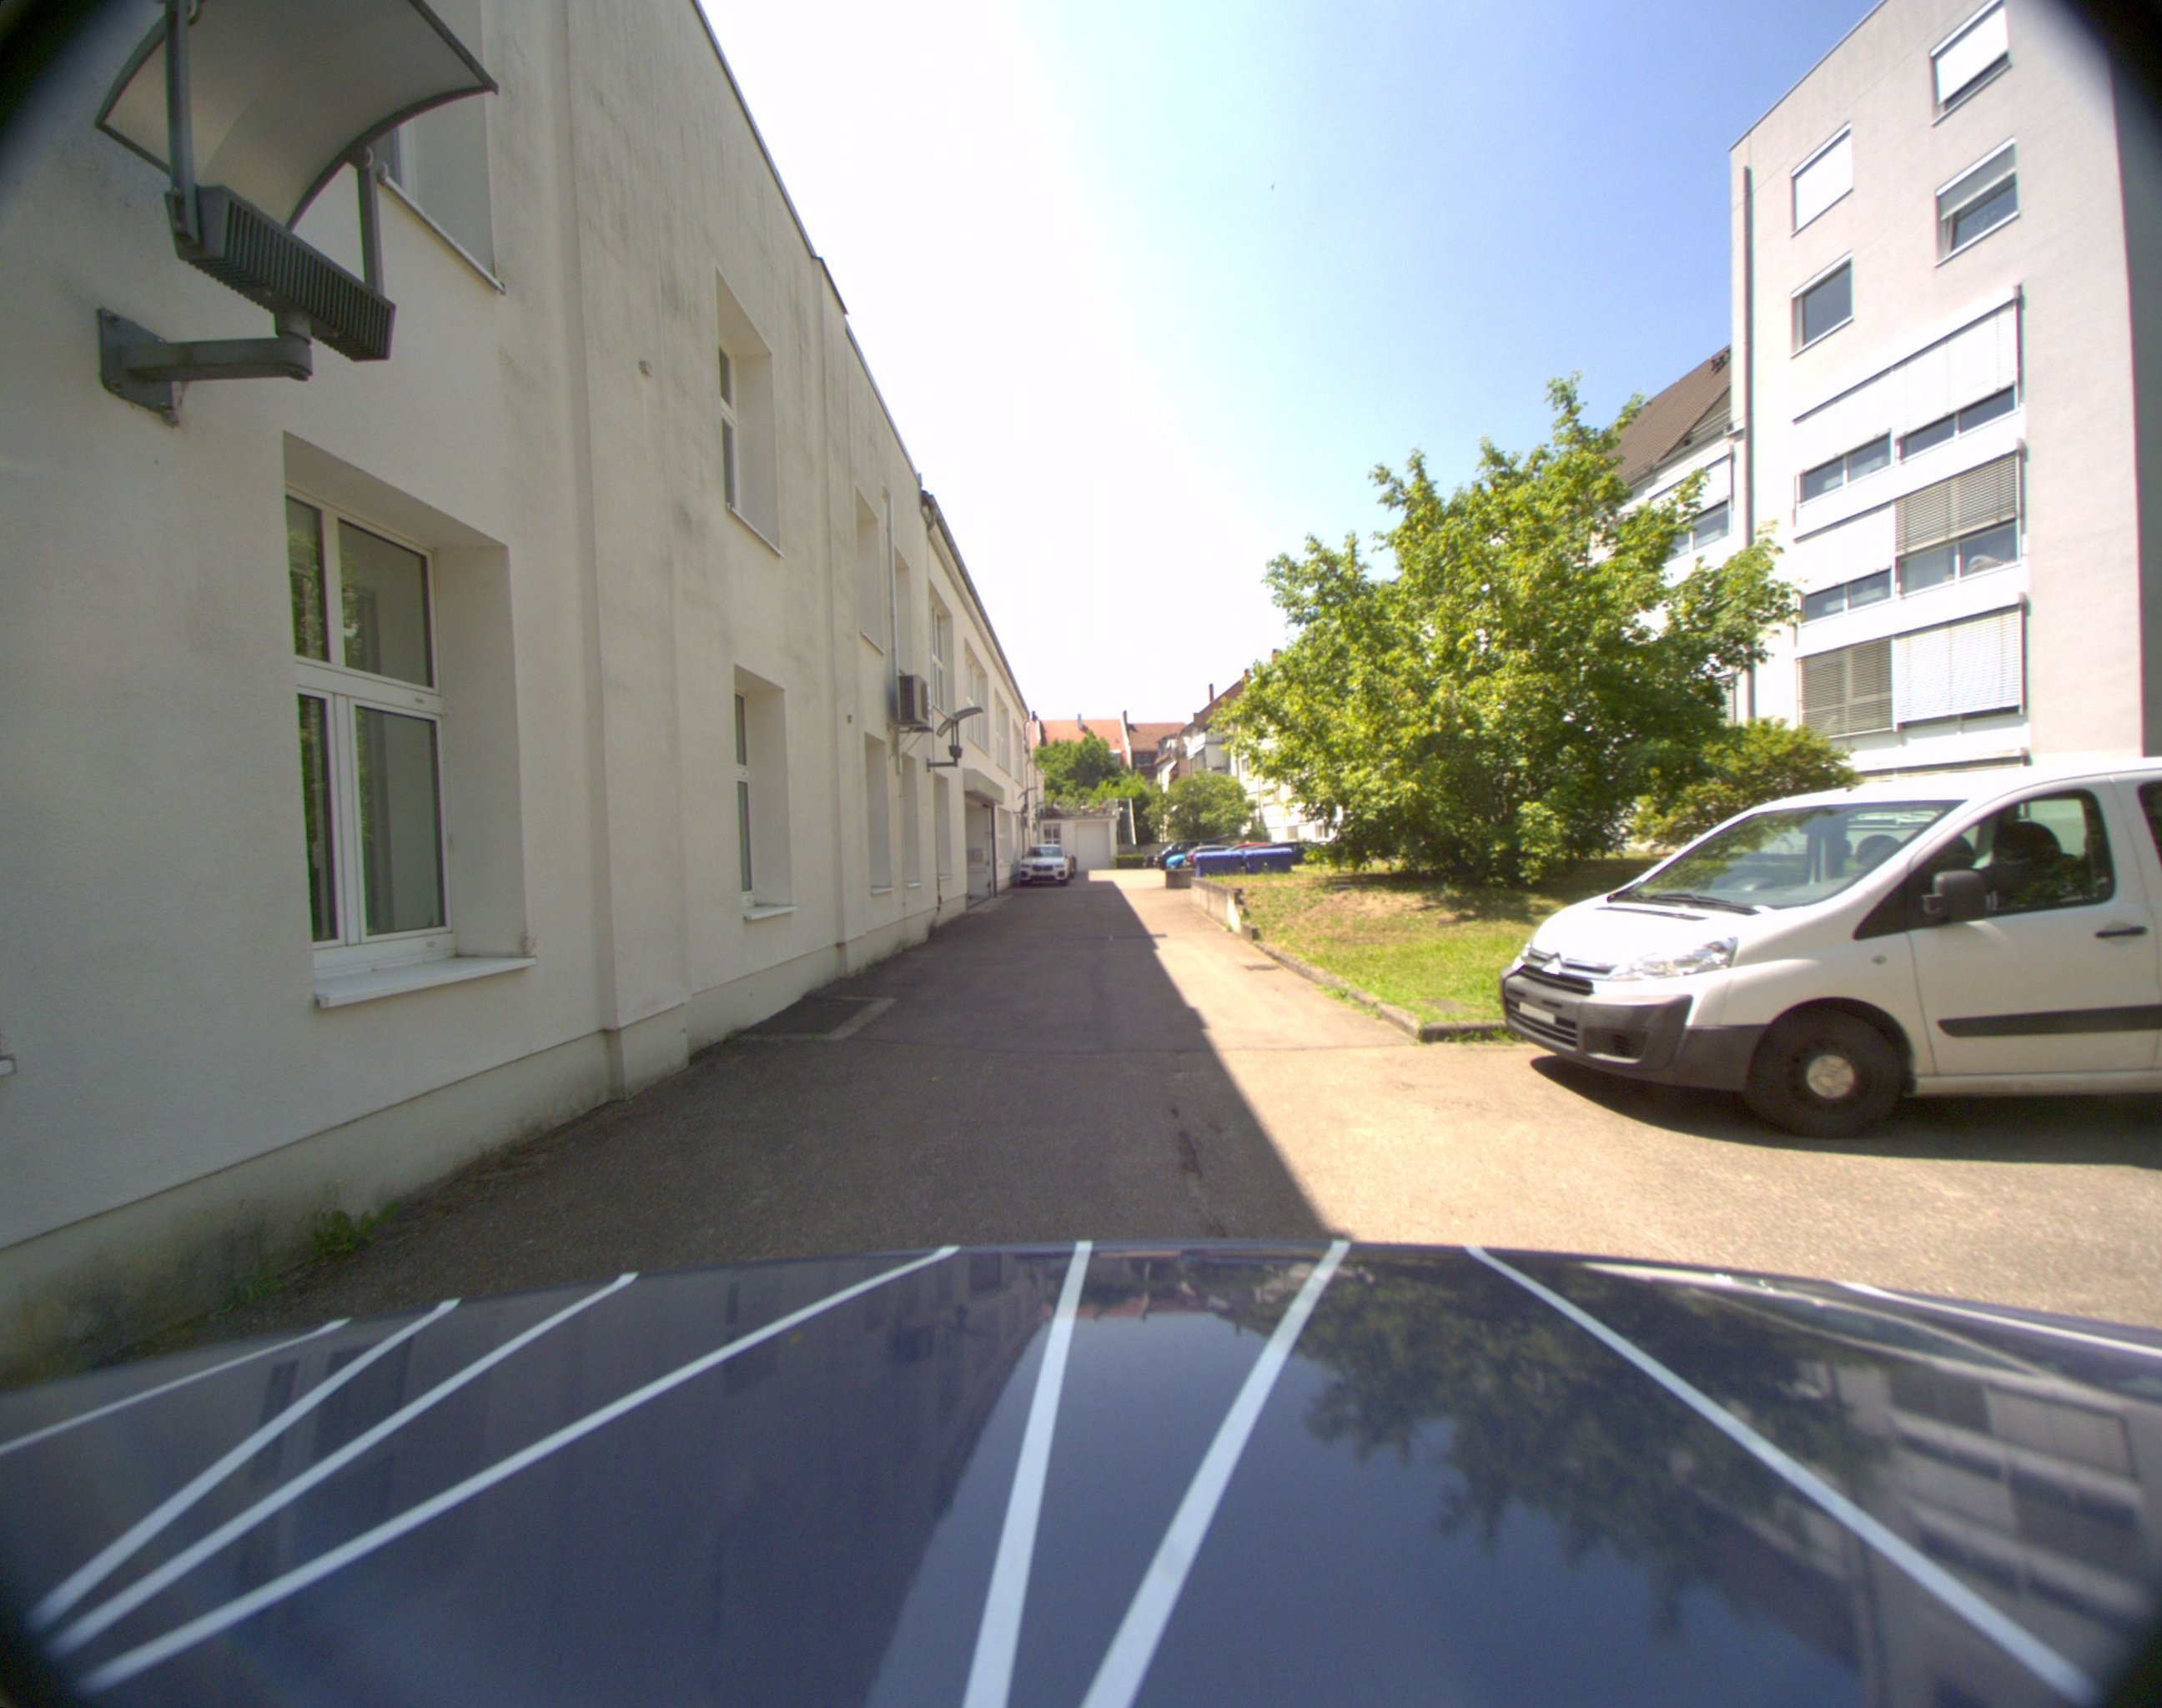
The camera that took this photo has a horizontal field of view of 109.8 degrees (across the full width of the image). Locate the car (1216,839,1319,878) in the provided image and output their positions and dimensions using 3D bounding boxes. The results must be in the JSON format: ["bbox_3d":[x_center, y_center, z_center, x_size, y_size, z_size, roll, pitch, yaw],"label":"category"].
[{"bbox_3d":[8.389,0.179,34.385,4.223,1.560,1.612,-2,2,-4],"label":"car"}]

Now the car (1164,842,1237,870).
[{"bbox_3d":[7.401,0.101,47.384,4.223,1.560,1.612,-2,2,-4],"label":"car"}]

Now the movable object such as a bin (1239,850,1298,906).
[{"bbox_3d":[4.937,0.606,20.055,1.271,1.381,1.095,-2,2,1],"label":"movable object such as a bin"}]

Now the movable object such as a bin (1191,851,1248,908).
[{"bbox_3d":[3.639,0.652,20.056,1.271,1.381,1.095,-2,2,1],"label":"movable object such as a bin"}]

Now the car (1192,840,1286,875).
[{"bbox_3d":[7.794,0.152,37.701,4.223,1.560,1.612,-2,2,-4],"label":"car"}]

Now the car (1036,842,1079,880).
[{"bbox_3d":[-1.196,0.328,41.213,2.011,1.793,4.726,-2,2,1],"label":"car"}]

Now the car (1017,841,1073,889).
[{"bbox_3d":[-1.445,0.403,32.413,2.011,1.793,4.726,-2,2,1],"label":"car"}]

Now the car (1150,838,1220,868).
[{"bbox_3d":[6.831,-0.079,50.327,4.223,1.813,2.008,-2,2,-4],"label":"car"}]

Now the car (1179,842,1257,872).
[{"bbox_3d":[7.956,0.138,44.316,4.223,1.560,1.612,-2,2,-4],"label":"car"}]

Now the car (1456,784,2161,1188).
[{"bbox_3d":[5.208,0.580,4.560,4.858,1.873,2.067,-2,2,3],"label":"car"}]

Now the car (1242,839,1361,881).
[{"bbox_3d":[9.126,0.221,31.666,4.445,1.560,1.612,-2,2,-4],"label":"car"}]
